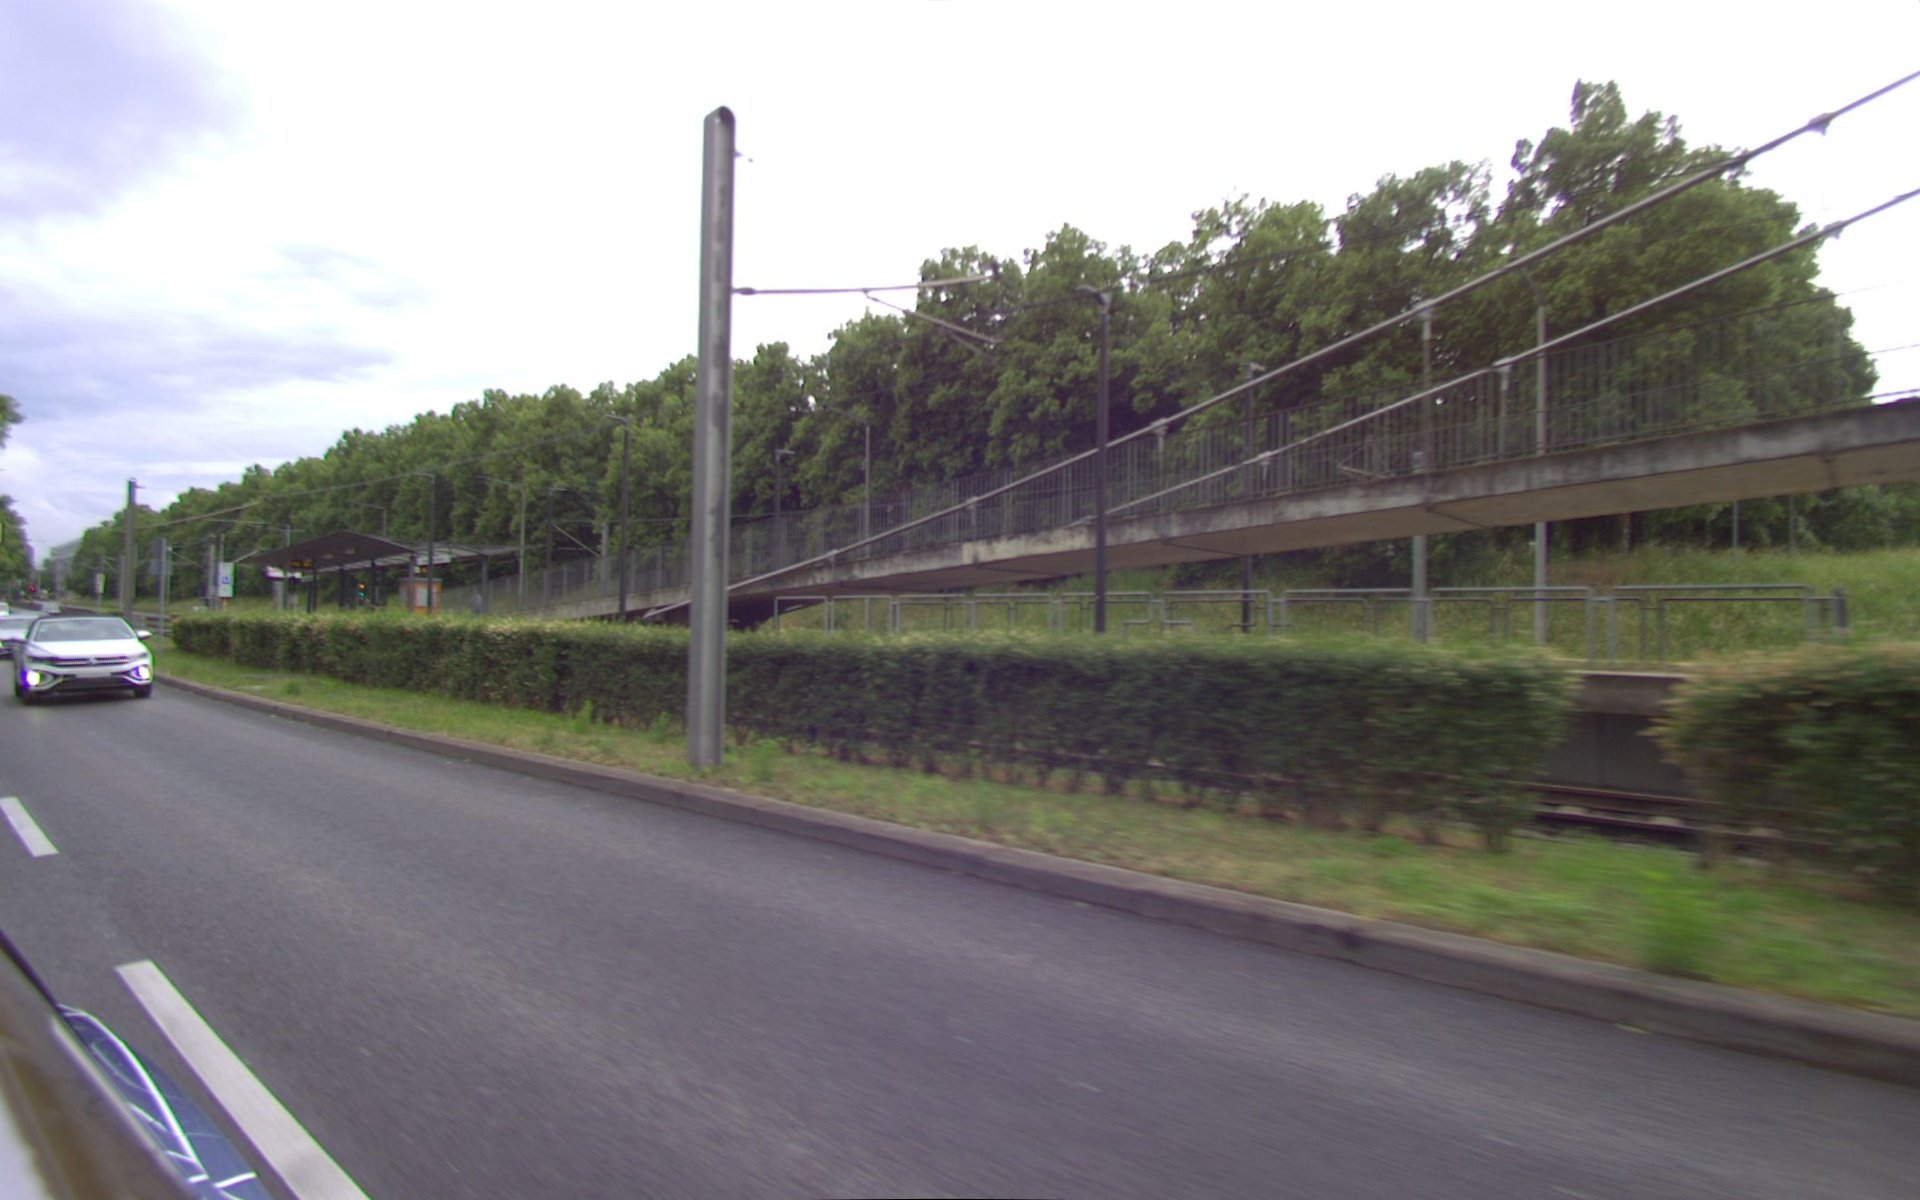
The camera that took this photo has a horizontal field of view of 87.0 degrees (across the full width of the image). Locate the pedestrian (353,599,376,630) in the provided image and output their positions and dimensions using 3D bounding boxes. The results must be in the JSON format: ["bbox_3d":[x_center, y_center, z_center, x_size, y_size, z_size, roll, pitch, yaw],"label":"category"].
[{"bbox_3d":[-26.498,0.656,45.034,0.692,1.366,0.744,-1,-1,44],"label":"pedestrian"}]

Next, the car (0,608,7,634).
[{"bbox_3d":[-73.079,1.580,76.125,1.933,1.940,4.848,-1,1,-45],"label":"car"}]

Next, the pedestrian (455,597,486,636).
[{"bbox_3d":[-20.688,0.679,42.795,0.924,1.623,1.028,1,-1,-43],"label":"pedestrian"}]

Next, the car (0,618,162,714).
[{"bbox_3d":[-16.534,1.123,18.951,4.702,1.476,1.933,-1,1,45],"label":"car"}]

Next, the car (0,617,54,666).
[{"bbox_3d":[-31.986,1.354,34.211,1.932,1.492,4.704,-1,1,-43],"label":"car"}]
